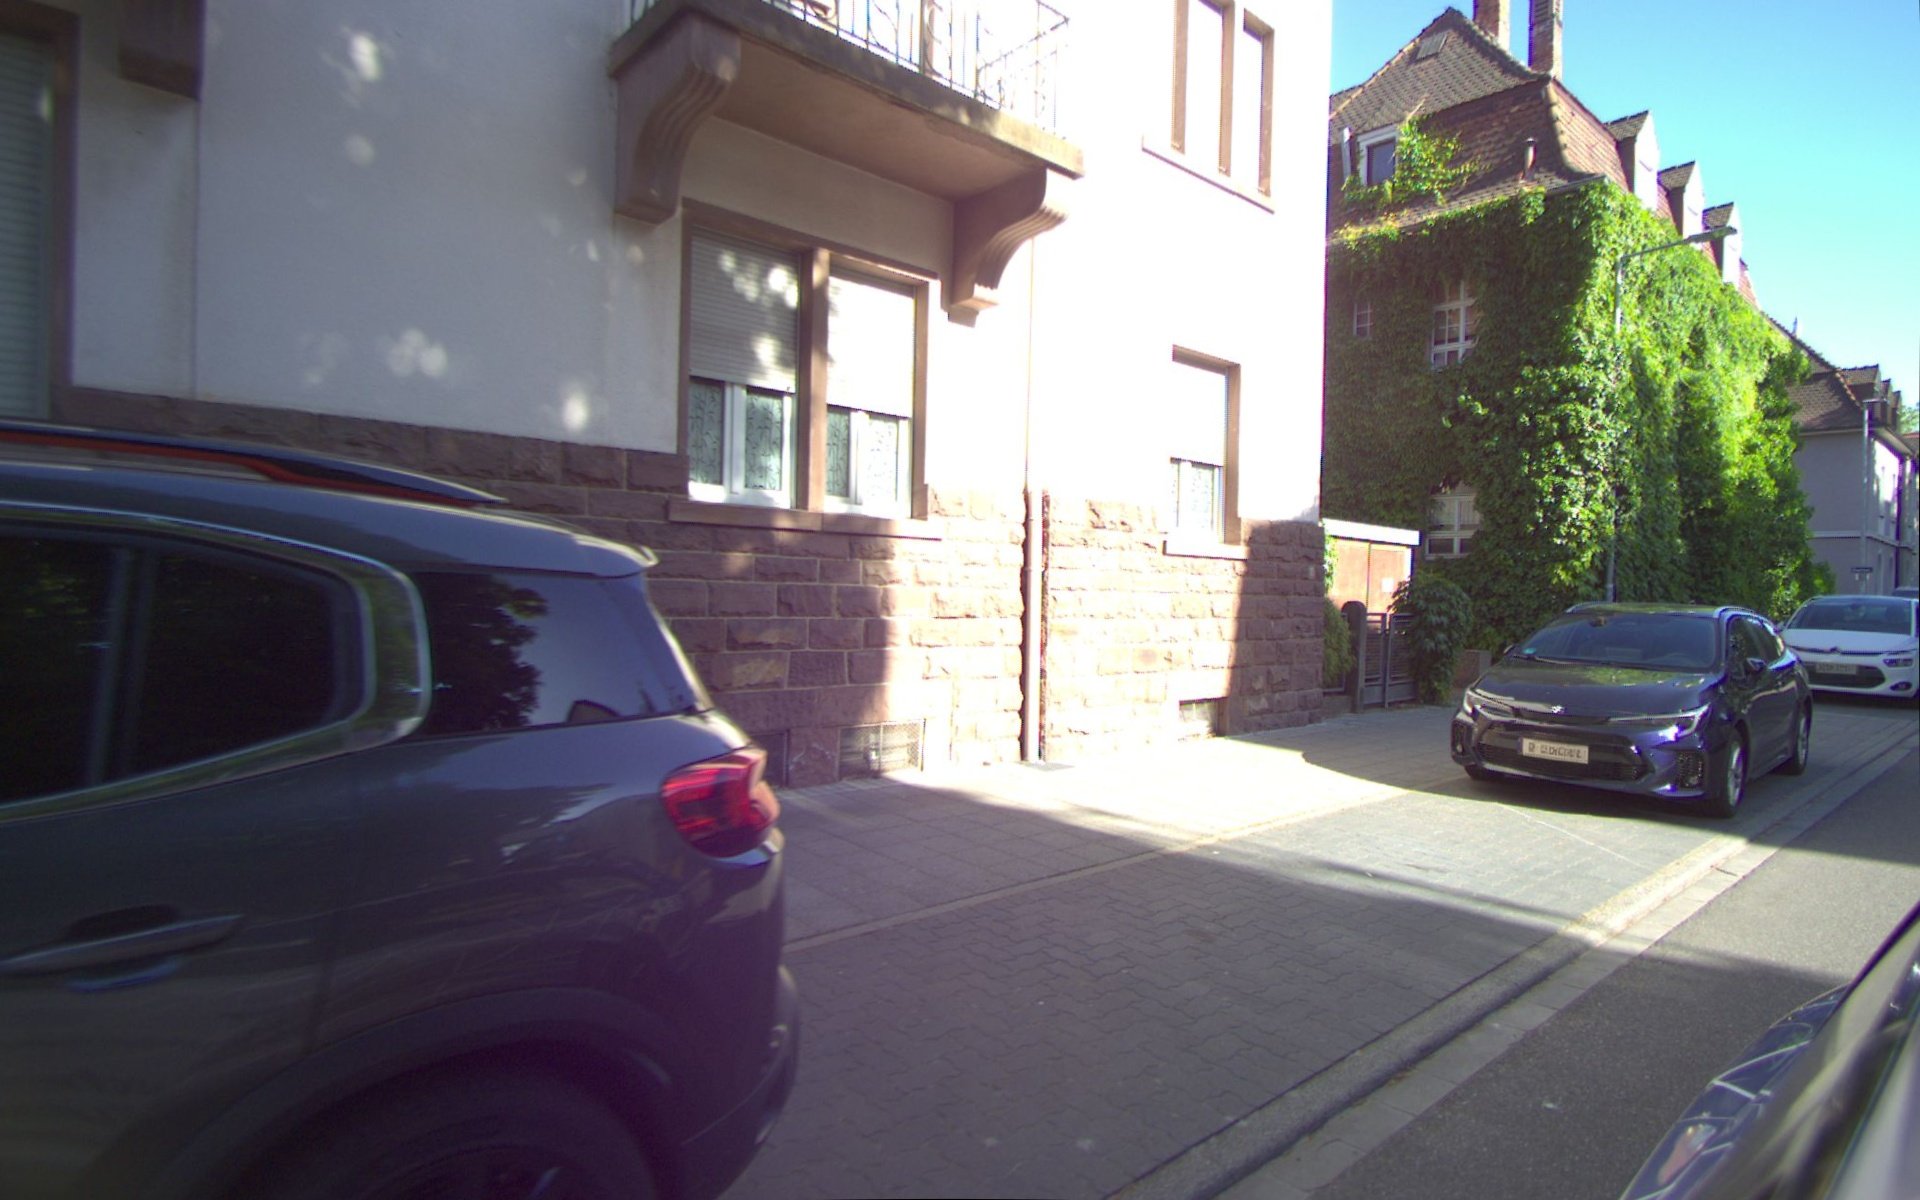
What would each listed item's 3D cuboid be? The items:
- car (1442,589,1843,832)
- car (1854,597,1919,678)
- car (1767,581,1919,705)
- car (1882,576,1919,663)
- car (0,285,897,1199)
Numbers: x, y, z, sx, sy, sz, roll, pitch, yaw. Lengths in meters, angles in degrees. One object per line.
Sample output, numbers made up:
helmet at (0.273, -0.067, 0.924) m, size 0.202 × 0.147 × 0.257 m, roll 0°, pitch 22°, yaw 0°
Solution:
car at (5.737, 0.673, 8.258) m, size 4.424 × 1.472 × 1.646 m, roll 0°, pitch 0°, yaw -41°
car at (18.796, 0.696, 19.678) m, size 3.939 × 1.439 × 1.640 m, roll 0°, pitch 1°, yaw -41°
car at (14.295, 0.587, 15.800) m, size 4.125 × 1.665 × 1.871 m, roll 0°, pitch 2°, yaw -41°
car at (23.401, 0.445, 23.882) m, size 4.766 × 1.933 × 1.856 m, roll 0°, pitch 1°, yaw -41°
car at (-2.314, 0.521, 1.277) m, size 4.245 × 1.718 × 1.781 m, roll -1°, pitch 0°, yaw -41°
